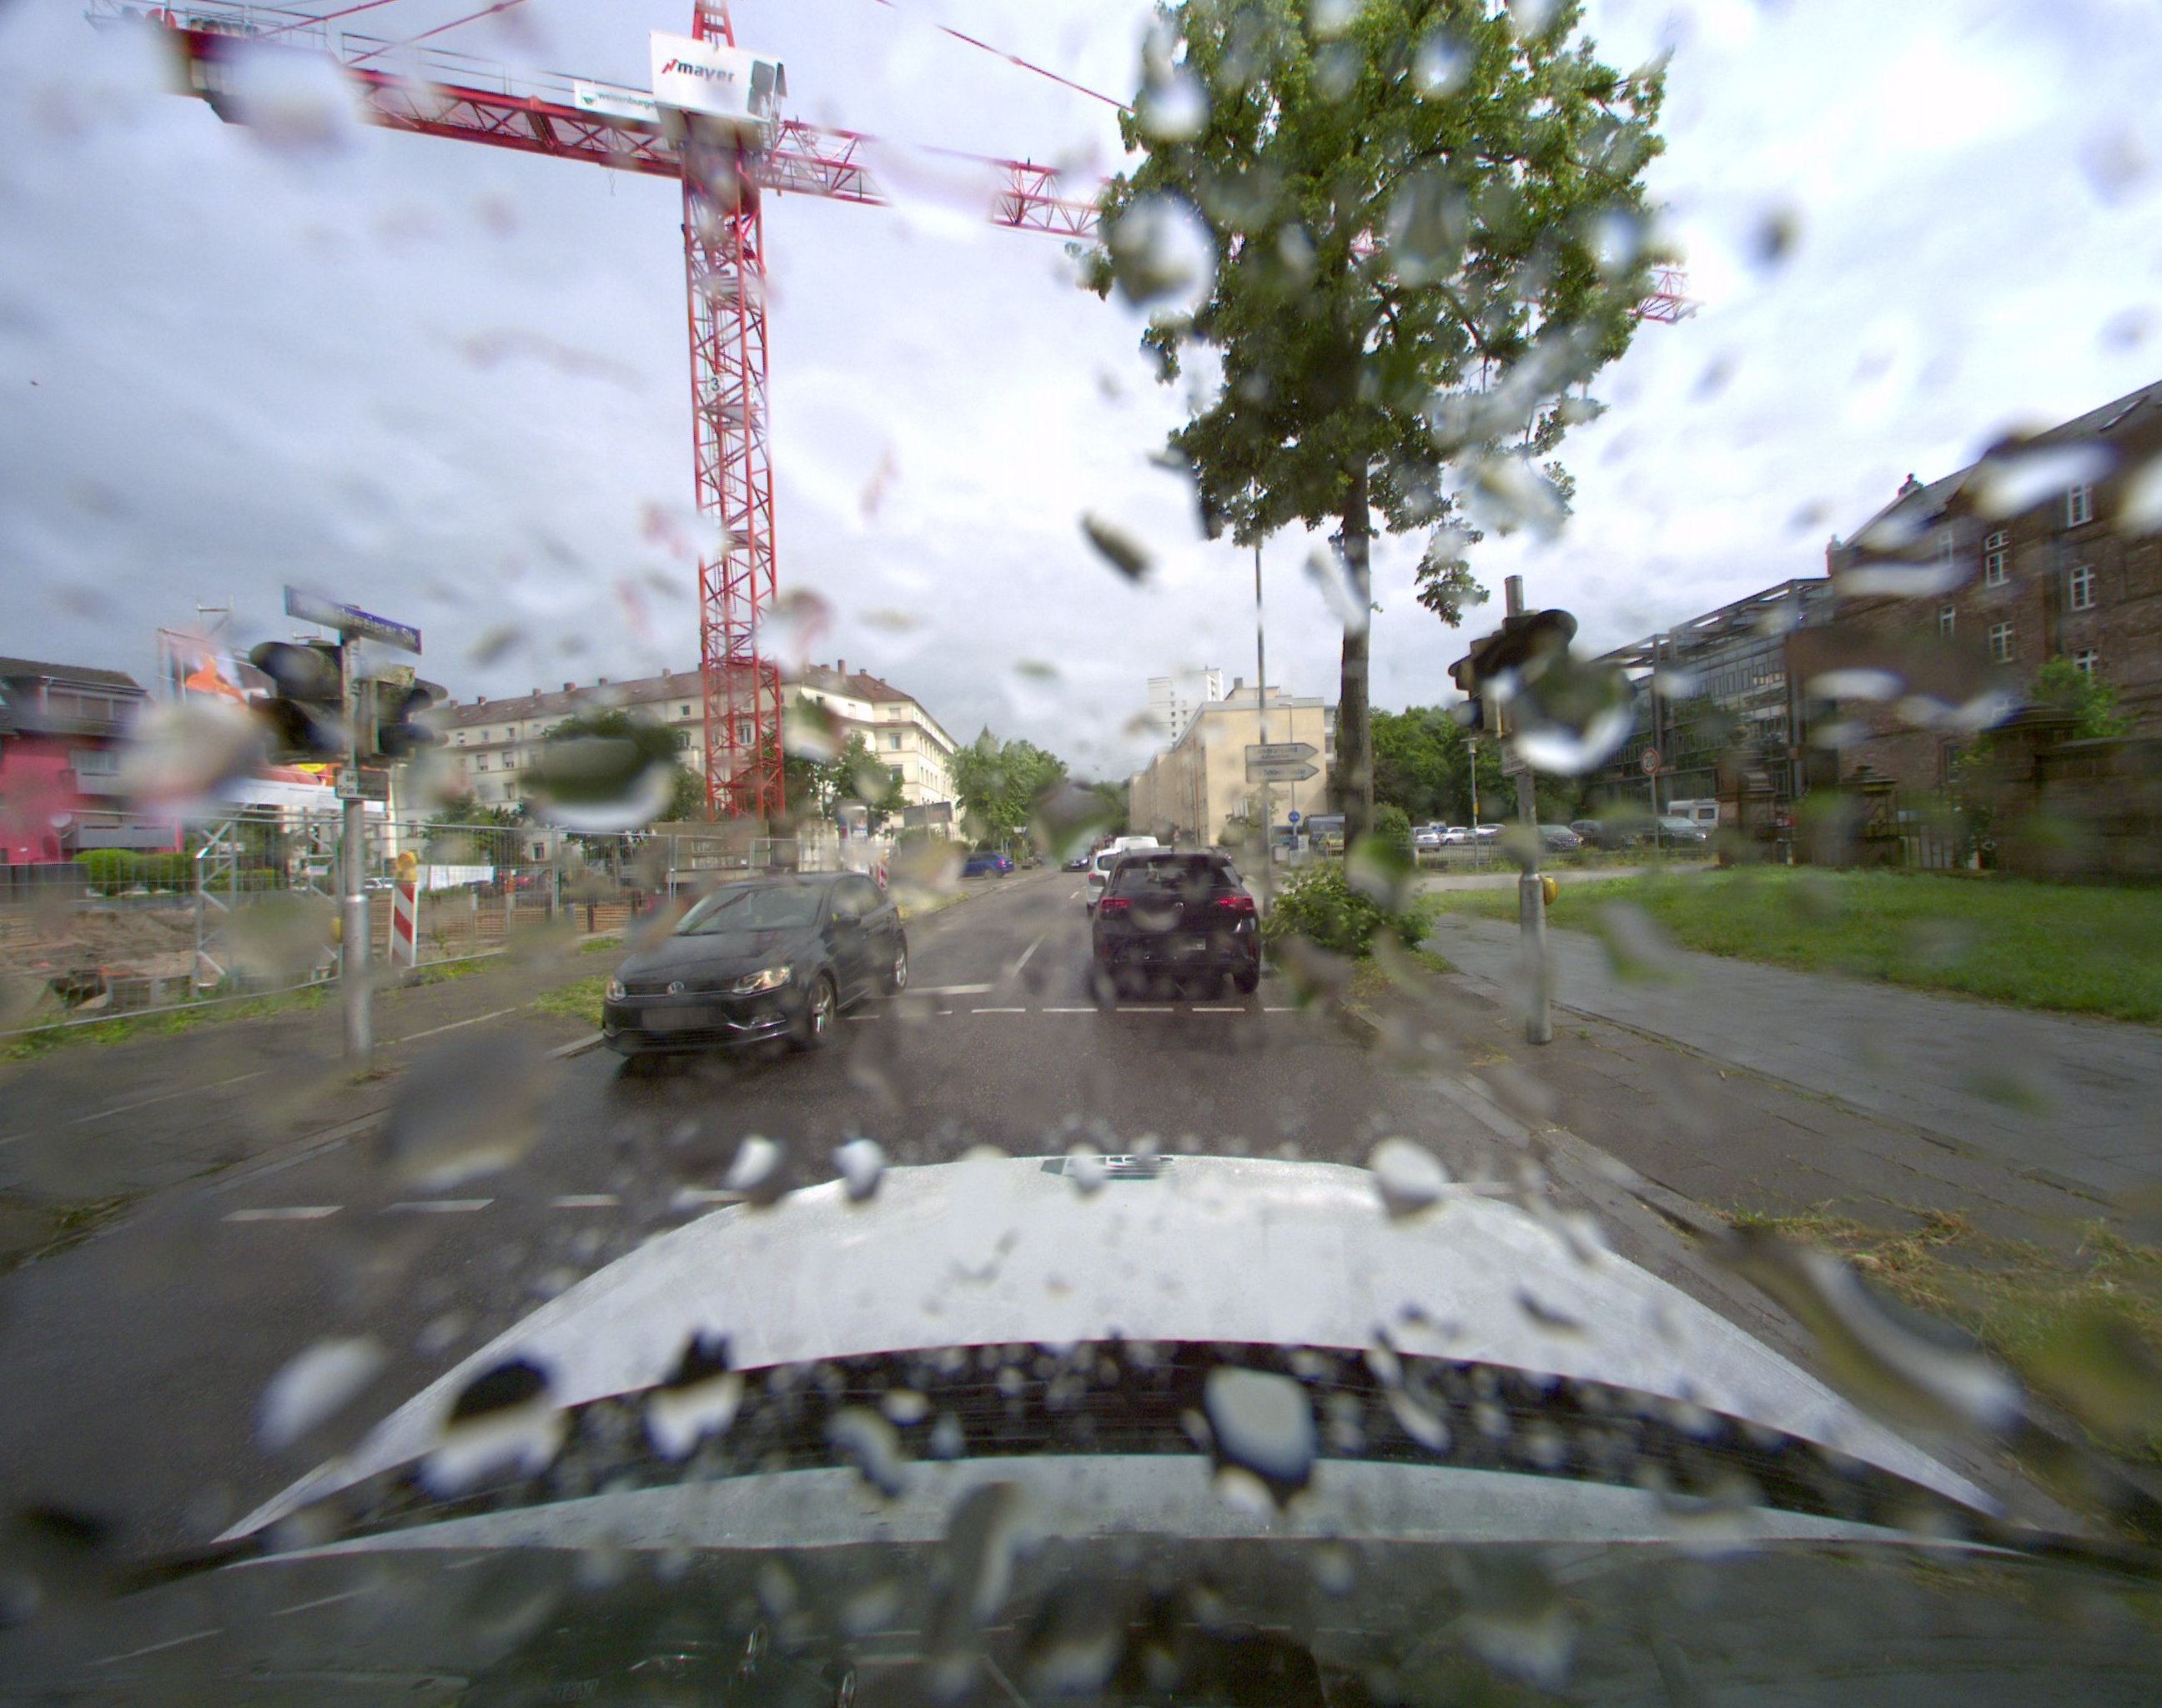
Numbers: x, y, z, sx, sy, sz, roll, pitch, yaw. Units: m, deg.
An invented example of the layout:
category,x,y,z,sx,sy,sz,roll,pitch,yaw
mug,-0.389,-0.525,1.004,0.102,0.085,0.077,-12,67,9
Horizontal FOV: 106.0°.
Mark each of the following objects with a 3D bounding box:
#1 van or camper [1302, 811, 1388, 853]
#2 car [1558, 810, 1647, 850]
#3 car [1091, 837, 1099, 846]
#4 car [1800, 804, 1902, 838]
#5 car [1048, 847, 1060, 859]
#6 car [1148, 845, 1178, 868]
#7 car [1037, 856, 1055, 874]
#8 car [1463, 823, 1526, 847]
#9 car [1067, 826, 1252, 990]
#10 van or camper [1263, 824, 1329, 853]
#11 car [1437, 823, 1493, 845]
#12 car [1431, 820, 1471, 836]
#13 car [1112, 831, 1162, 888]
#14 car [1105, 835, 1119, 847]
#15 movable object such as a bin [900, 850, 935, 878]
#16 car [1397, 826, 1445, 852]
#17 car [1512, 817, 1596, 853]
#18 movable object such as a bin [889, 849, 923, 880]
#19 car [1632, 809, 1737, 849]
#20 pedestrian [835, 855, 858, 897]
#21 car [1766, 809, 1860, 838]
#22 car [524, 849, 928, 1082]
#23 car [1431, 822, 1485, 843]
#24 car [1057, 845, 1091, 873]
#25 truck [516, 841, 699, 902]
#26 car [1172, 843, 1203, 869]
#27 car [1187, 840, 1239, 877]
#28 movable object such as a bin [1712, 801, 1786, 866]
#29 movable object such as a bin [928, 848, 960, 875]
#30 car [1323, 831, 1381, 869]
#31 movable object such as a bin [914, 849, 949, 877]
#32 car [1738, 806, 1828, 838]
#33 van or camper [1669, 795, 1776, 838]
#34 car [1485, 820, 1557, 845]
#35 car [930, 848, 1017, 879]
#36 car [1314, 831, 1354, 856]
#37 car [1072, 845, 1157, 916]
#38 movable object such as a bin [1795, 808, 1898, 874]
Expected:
category,x,y,z,sx,sy,sz,roll,pitch,yaw
van or camper,17.519,-1.418,54.235,4.977,2.554,2.177,-2,-1,3
car,24.881,-1.125,39.026,1.843,1.679,4.433,-3,0,8
car,3.038,-2.717,181.805,1.660,1.837,4.000,-3,1,0
car,40.366,-1.730,42.765,3.651,1.524,1.674,-3,0,3
car,-3.847,-0.182,115.499,1.582,1.639,3.917,-4,0,-2
car,6.256,0.203,62.423,1.744,1.508,4.108,-2,-3,-2
car,-3.413,1.039,79.485,1.582,1.505,4.061,-4,0,-2
car,29.742,-1.378,58.682,3.649,1.486,1.642,-3,0,5
car,0.870,0.556,10.318,1.866,1.645,4.064,-1,0,2
van or camper,17.019,-1.225,64.644,4.736,2.131,2.325,-2,1,5
car,30.179,-1.546,64.048,3.649,1.486,1.642,-3,0,5
car,36.224,-2.537,79.783,3.209,1.397,1.511,-3,0,5
car,2.203,0.203,32.141,1.828,2.103,4.004,-1,0,4
car,4.546,-1.830,118.773,1.833,1.608,3.679,-4,0,3
movable object such as a bin,-10.530,0.653,52.535,1.524,1.656,1.536,-3,1,21
car,20.884,-0.925,50.137,1.641,1.486,3.724,-3,0,5
car,22.421,-0.881,38.796,1.819,1.527,4.432,-3,0,7
movable object such as a bin,-10.942,0.680,51.004,1.524,1.824,1.270,-3,1,21
car,28.292,-1.121,38.366,1.845,1.679,4.429,-3,0,4
pedestrian,-9.344,0.858,32.456,0.727,1.629,0.677,0,-1,-36
car,40.548,-1.671,45.195,3.650,1.486,1.674,-1,0,3
car,-2.901,0.785,7.762,1.805,1.540,3.987,-2,1,4
car,30.621,-1.727,66.225,3.649,1.486,1.642,-3,0,5
car,-0.411,0.269,52.720,1.833,1.608,4.004,-4,0,3
truck,-29.105,1.050,50.165,9.740,3.184,3.808,-3,0,15
car,6.605,0.135,50.783,1.748,1.528,4.006,1,-1,6
car,6.294,0.191,39.263,1.768,1.539,4.378,-5,0,1
movable object such as a bin,15.855,-0.484,19.356,0.796,1.457,1.098,-4,1,3
movable object such as a bin,-9.373,0.512,55.586,1.524,1.661,1.466,-3,1,21
car,13.872,-0.230,41.953,1.796,1.749,4.243,-3,0,4
movable object such as a bin,-9.935,0.593,54.083,1.524,1.674,1.675,-3,1,21
car,40.599,-1.822,47.151,3.651,1.576,1.674,-3,0,3
van or camper,39.611,-2.304,50.371,4.768,2.486,2.259,0,-1,1
car,30.283,-1.484,56.116,3.957,1.465,1.674,-3,0,3
car,-5.988,0.538,45.631,4.400,1.585,1.829,-1,1,15
car,15.739,-0.646,50.720,1.603,1.448,3.421,-3,0,4
car,0.794,0.587,19.489,1.806,1.503,4.002,0,0,2
movable object such as a bin,18.256,-0.317,19.471,1.101,1.457,1.392,-4,1,3
